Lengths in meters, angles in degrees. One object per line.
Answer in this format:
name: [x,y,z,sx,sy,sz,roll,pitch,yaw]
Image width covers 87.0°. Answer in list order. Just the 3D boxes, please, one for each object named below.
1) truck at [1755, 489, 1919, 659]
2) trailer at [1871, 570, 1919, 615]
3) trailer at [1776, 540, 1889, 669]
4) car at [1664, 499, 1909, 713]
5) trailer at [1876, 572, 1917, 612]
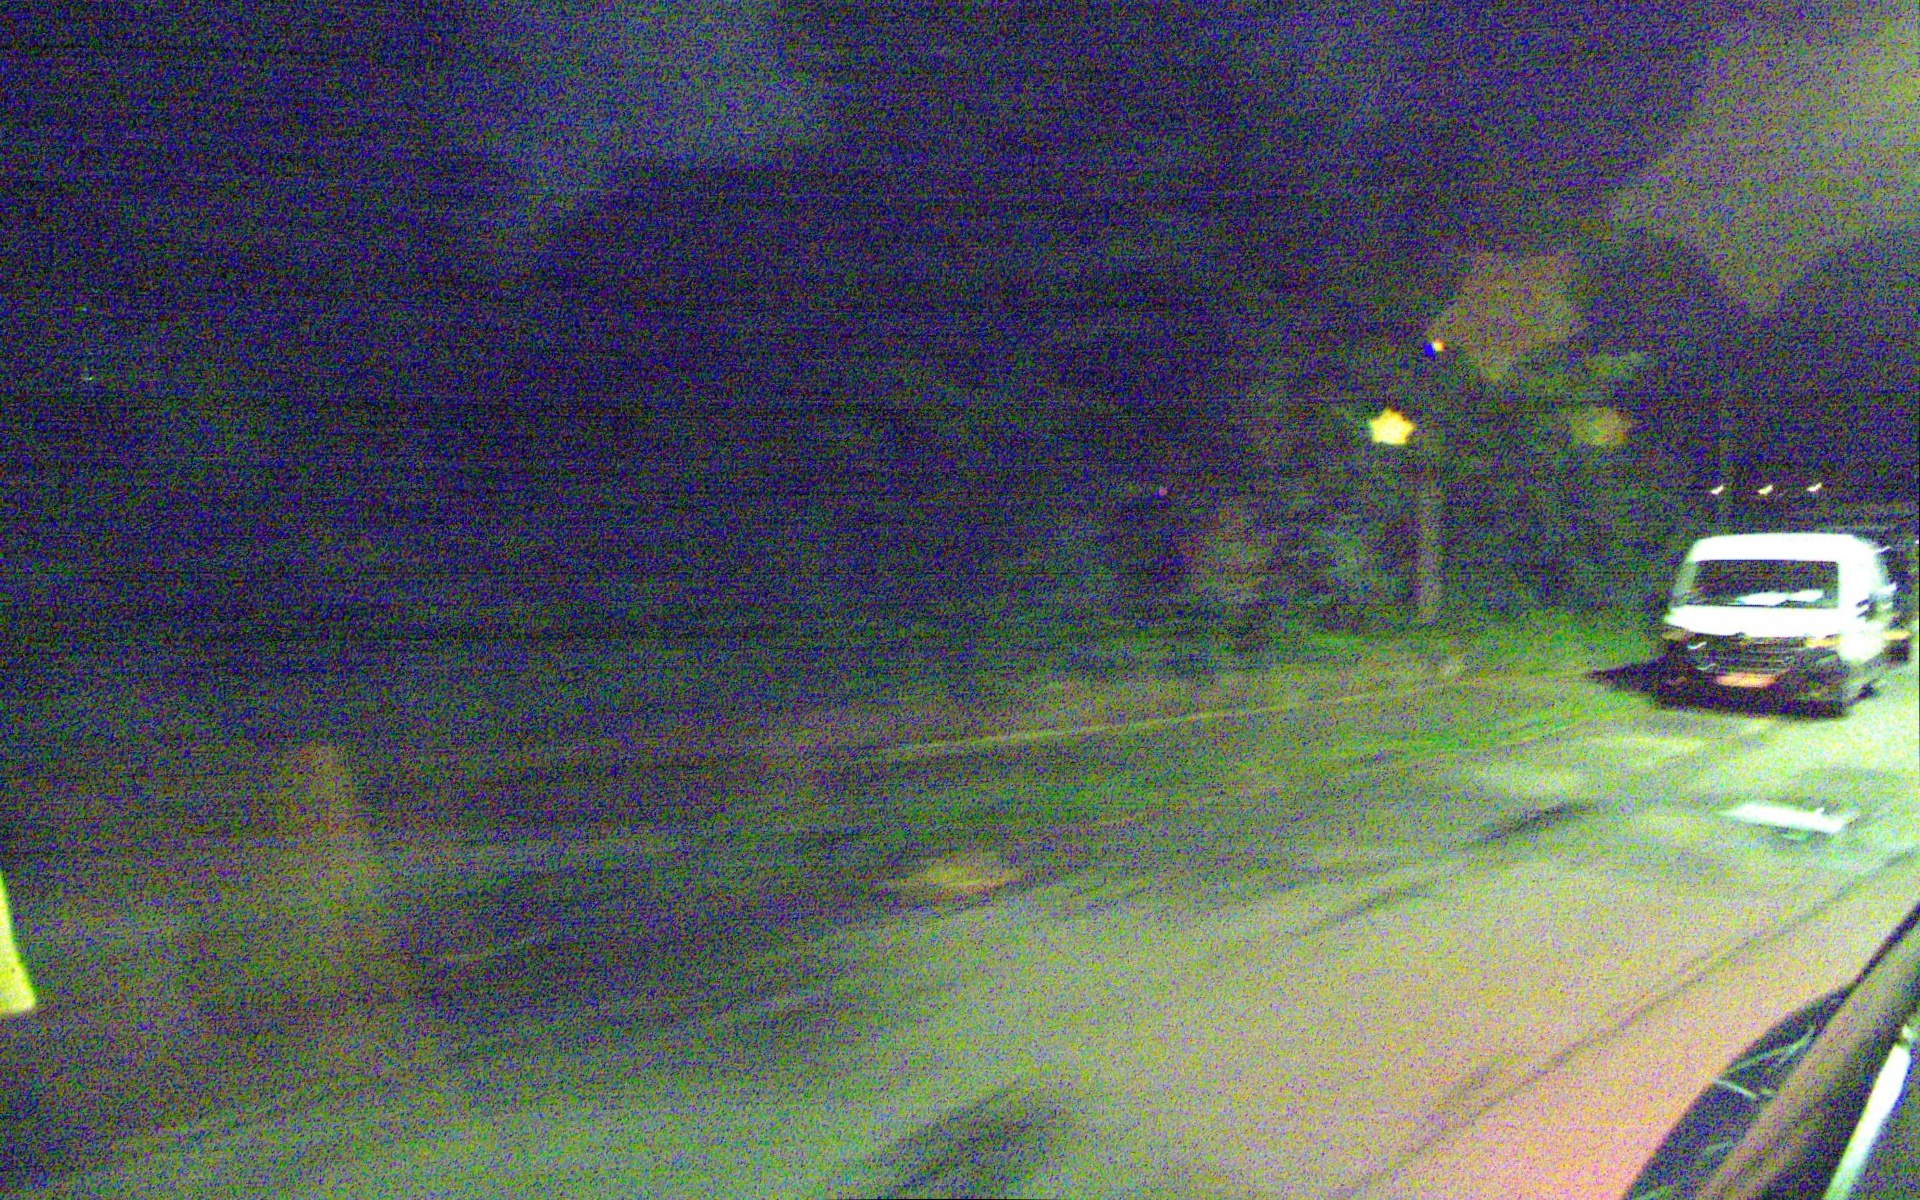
truck: [24.318,-0.644,27.620,3.324,3.917,9.182,1,1,43]
trailer: [57.494,-0.461,62.140,3.933,2.684,1.995,1,0,-44]
trailer: [19.086,0.093,22.065,1.632,2.505,4.948,1,0,43]
car: [12.416,0.077,14.993,6.266,2.548,2.110,1,0,-44]
trailer: [80.825,-0.696,87.403,2.395,3.368,4.298,1,0,41]
